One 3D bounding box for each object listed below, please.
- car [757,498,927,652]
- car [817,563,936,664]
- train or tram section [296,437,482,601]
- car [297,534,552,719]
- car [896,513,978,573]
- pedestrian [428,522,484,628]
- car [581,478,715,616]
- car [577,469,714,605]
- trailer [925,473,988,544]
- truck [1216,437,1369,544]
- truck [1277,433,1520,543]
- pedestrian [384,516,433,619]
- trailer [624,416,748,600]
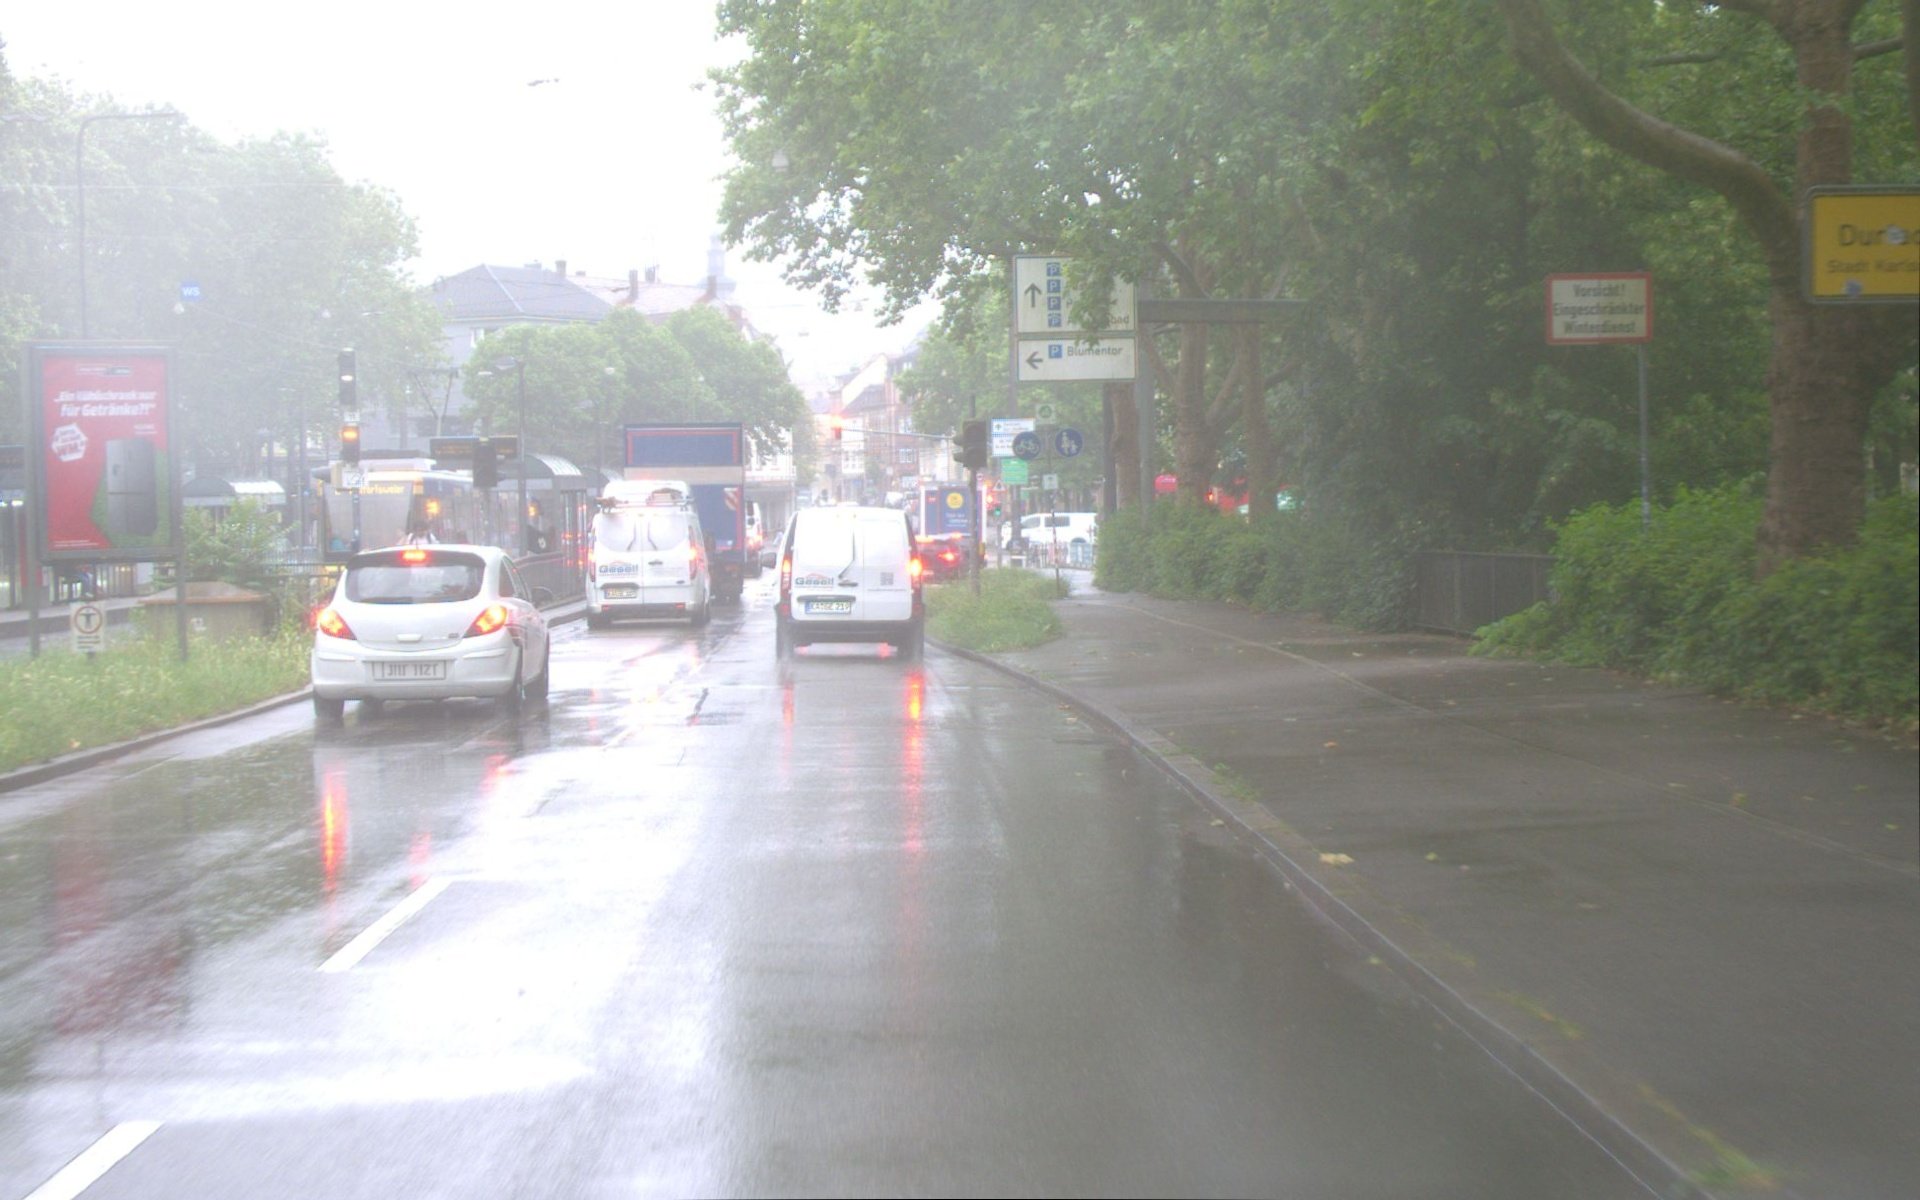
[{"bbox_3d":[-1.428,-0.297,41.469,1.959,1.771,3.570,0,0,-2],"label":"car"},{"bbox_3d":[-1.354,0.203,56.991,1.908,1.612,4.000,0,0,-1],"label":"car"},{"bbox_3d":[-12.335,-1.816,75.000,2.961,3.274,8.362,-2,2,-3],"label":"train or tram section"},{"bbox_3d":[-4.503,0.205,29.367,1.725,1.474,3.806,0,0,-2],"label":"car"},{"bbox_3d":[-0.582,-1.513,90.677,1.993,1.536,4.000,-1,1,2],"label":"car"},{"bbox_3d":[-8.259,-0.406,56.383,0.790,1.708,0.771,1,0,-3],"label":"pedestrian"},{"bbox_3d":[-5.295,-0.882,58.949,1.993,2.254,5.289,0,0,-2],"label":"car"},{"bbox_3d":[-6.105,-1.198,67.400,2.329,2.548,6.115,0,0,-2],"label":"car"},{"bbox_3d":[-0.140,-3.053,115.721,1.993,2.309,4.669,0,0,-2],"label":"trailer"},{"bbox_3d":[16.076,-5.283,166.376,7.158,4.882,3.288,-2,2,6],"label":"truck"},{"bbox_3d":[21.091,-5.407,165.868,11.365,4.882,3.288,-2,2,6],"label":"truck"},{"bbox_3d":[-9.469,-0.561,59.050,0.715,1.738,0.751,-1,1,-3],"label":"pedestrian"},{"bbox_3d":[-6.030,-2.040,76.555,2.590,3.886,7.637,0,1,-3],"label":"trailer"}]
